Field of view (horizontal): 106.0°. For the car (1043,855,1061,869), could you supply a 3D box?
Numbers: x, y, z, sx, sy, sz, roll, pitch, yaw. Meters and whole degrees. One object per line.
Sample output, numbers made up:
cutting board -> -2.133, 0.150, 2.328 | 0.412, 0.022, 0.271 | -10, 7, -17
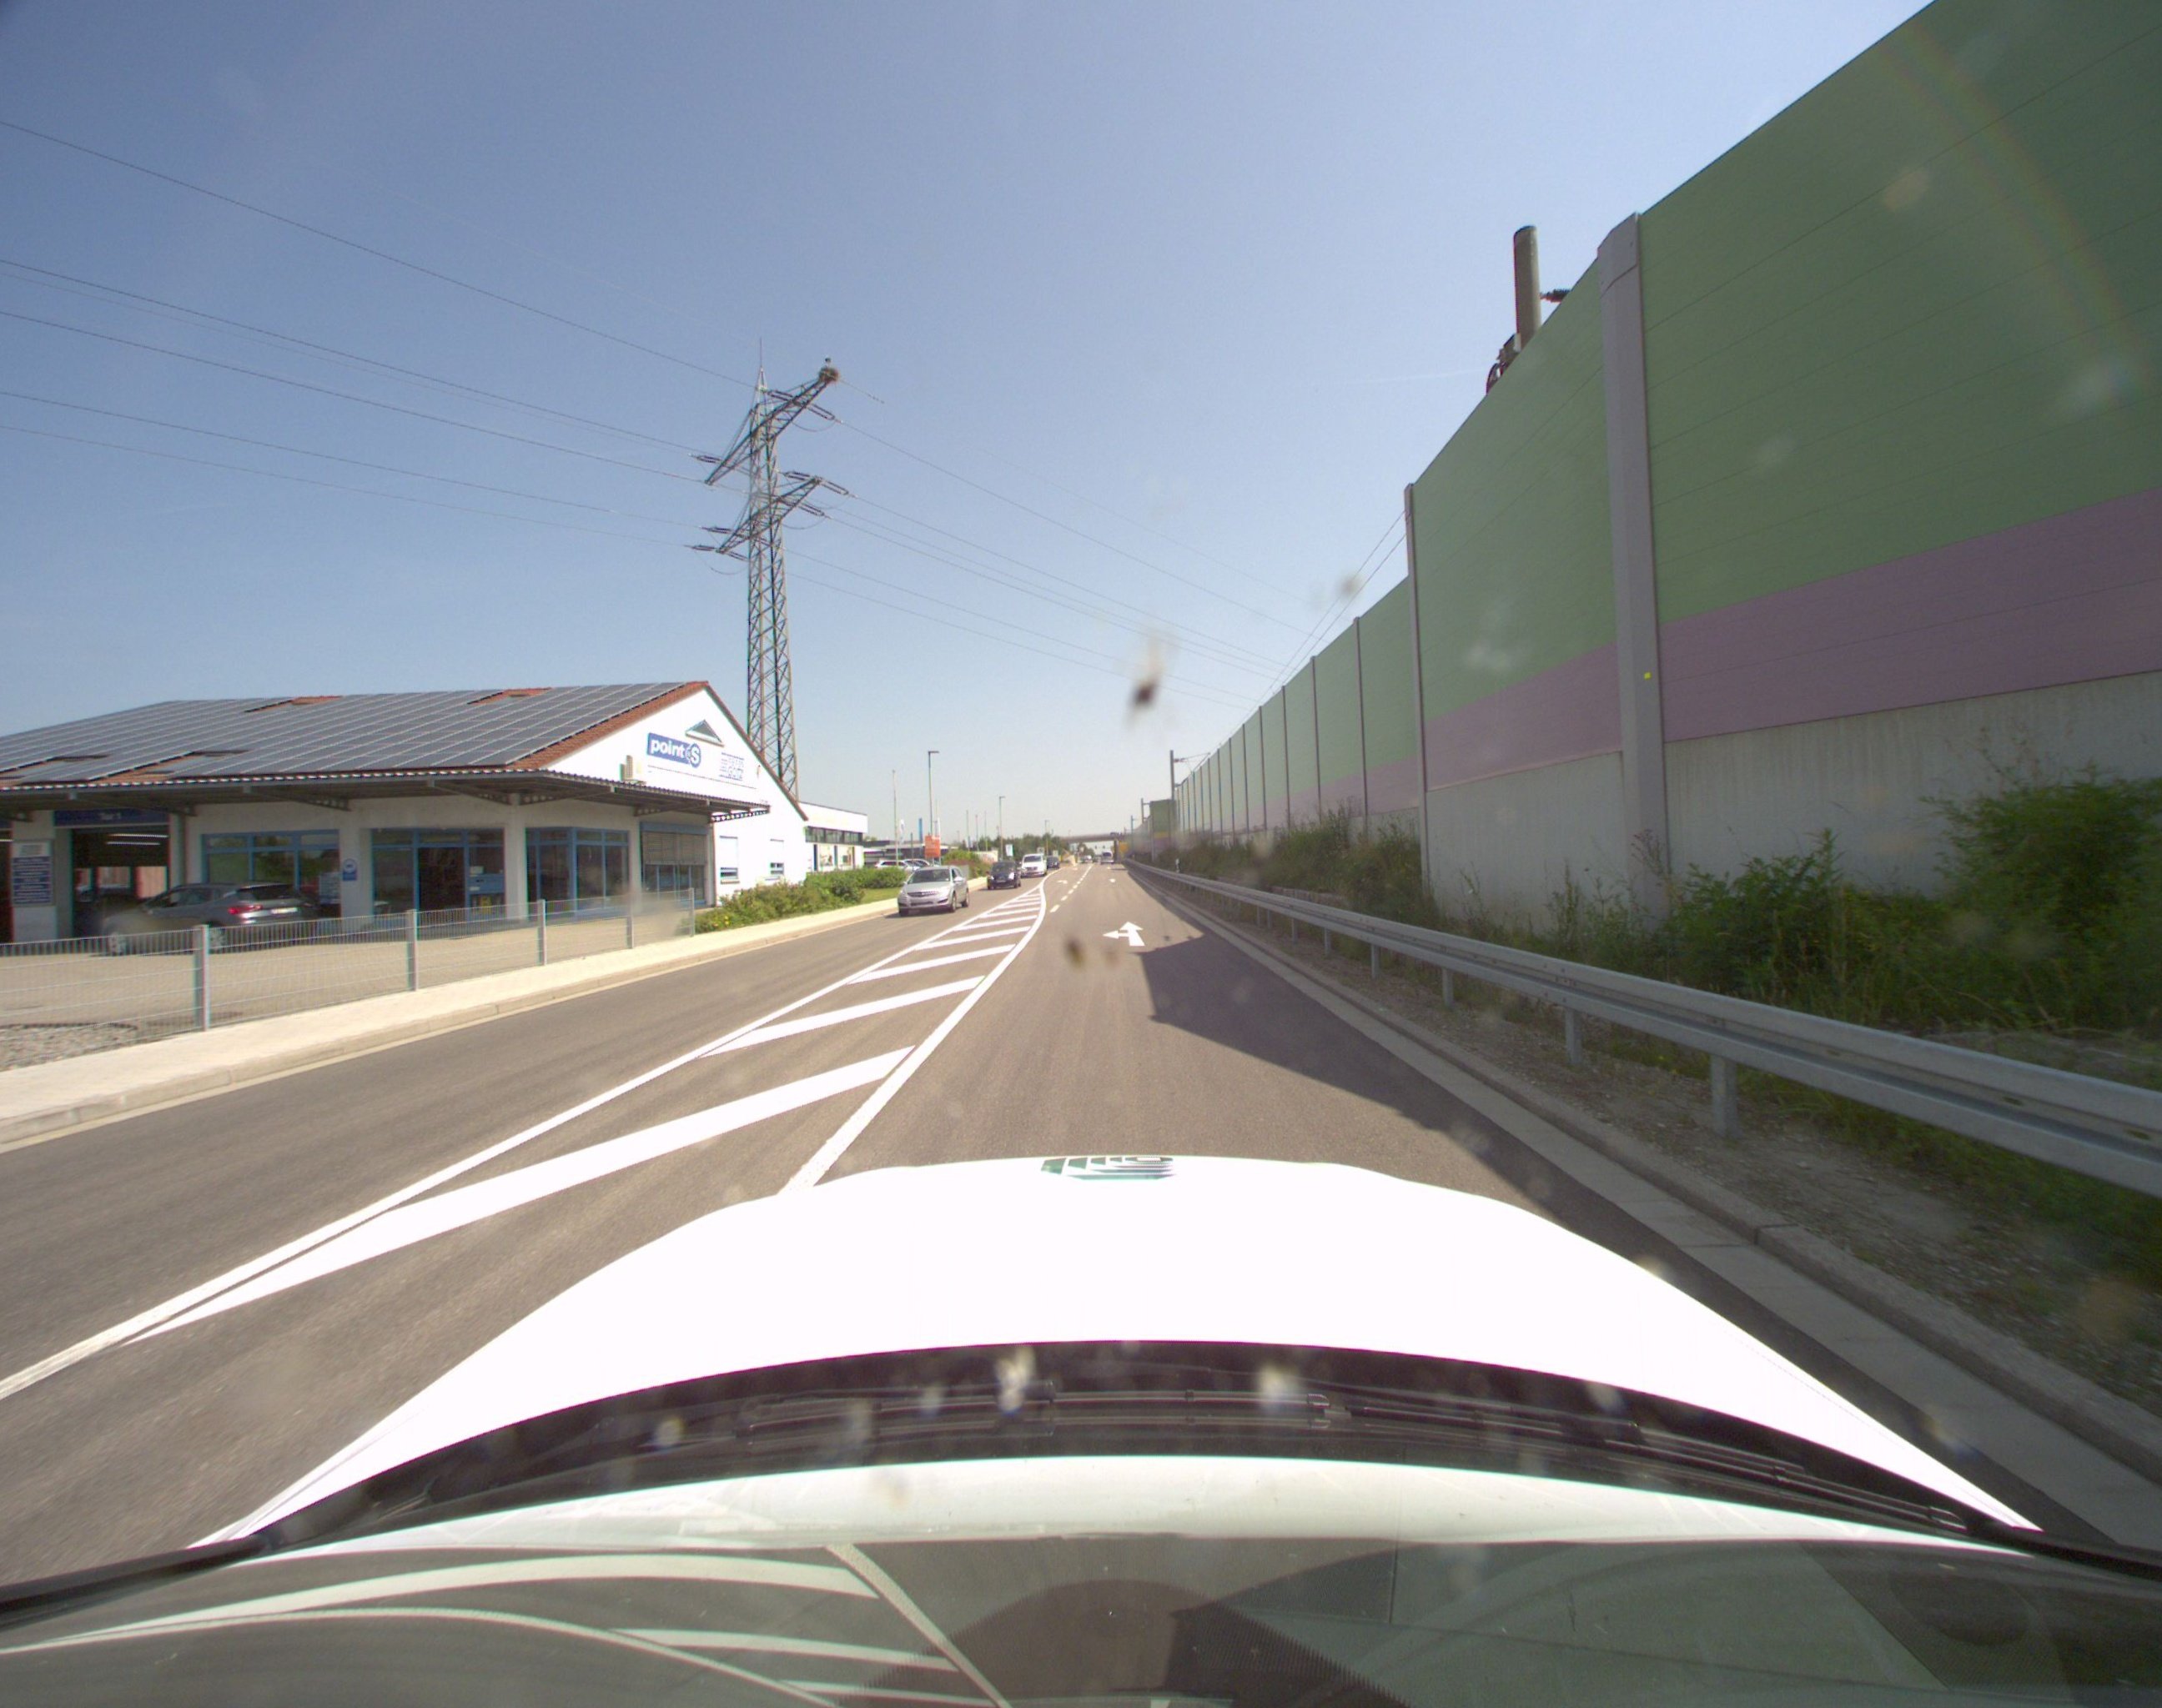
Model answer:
car -> -3.170, 0.914, 89.919 | 1.665, 1.423, 4.001 | -3, 0, 1

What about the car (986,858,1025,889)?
car -> -4.294, 1.086, 46.587 | 1.662, 1.600, 3.973 | -4, 0, 1

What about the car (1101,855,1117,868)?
car -> 3.897, 1.034, 113.260 | 1.985, 1.757, 4.003 | -2, 0, 3

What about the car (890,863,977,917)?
car -> -4.661, 1.096, 26.359 | 1.757, 1.466, 4.262 | -4, 0, 3

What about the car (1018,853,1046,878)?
car -> -3.990, 0.909, 67.437 | 1.988, 1.874, 5.166 | -3, -1, -1

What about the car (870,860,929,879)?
car -> -14.254, 1.192, 64.199 | 4.211, 1.456, 1.764 | 0, 0, -1

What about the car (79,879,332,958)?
car -> -19.954, 1.450, 18.678 | 3.969, 1.485, 1.786 | -3, 0, 4

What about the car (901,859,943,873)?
car -> -14.253, 1.092, 73.175 | 3.498, 1.254, 1.504 | 0, 0, -1
